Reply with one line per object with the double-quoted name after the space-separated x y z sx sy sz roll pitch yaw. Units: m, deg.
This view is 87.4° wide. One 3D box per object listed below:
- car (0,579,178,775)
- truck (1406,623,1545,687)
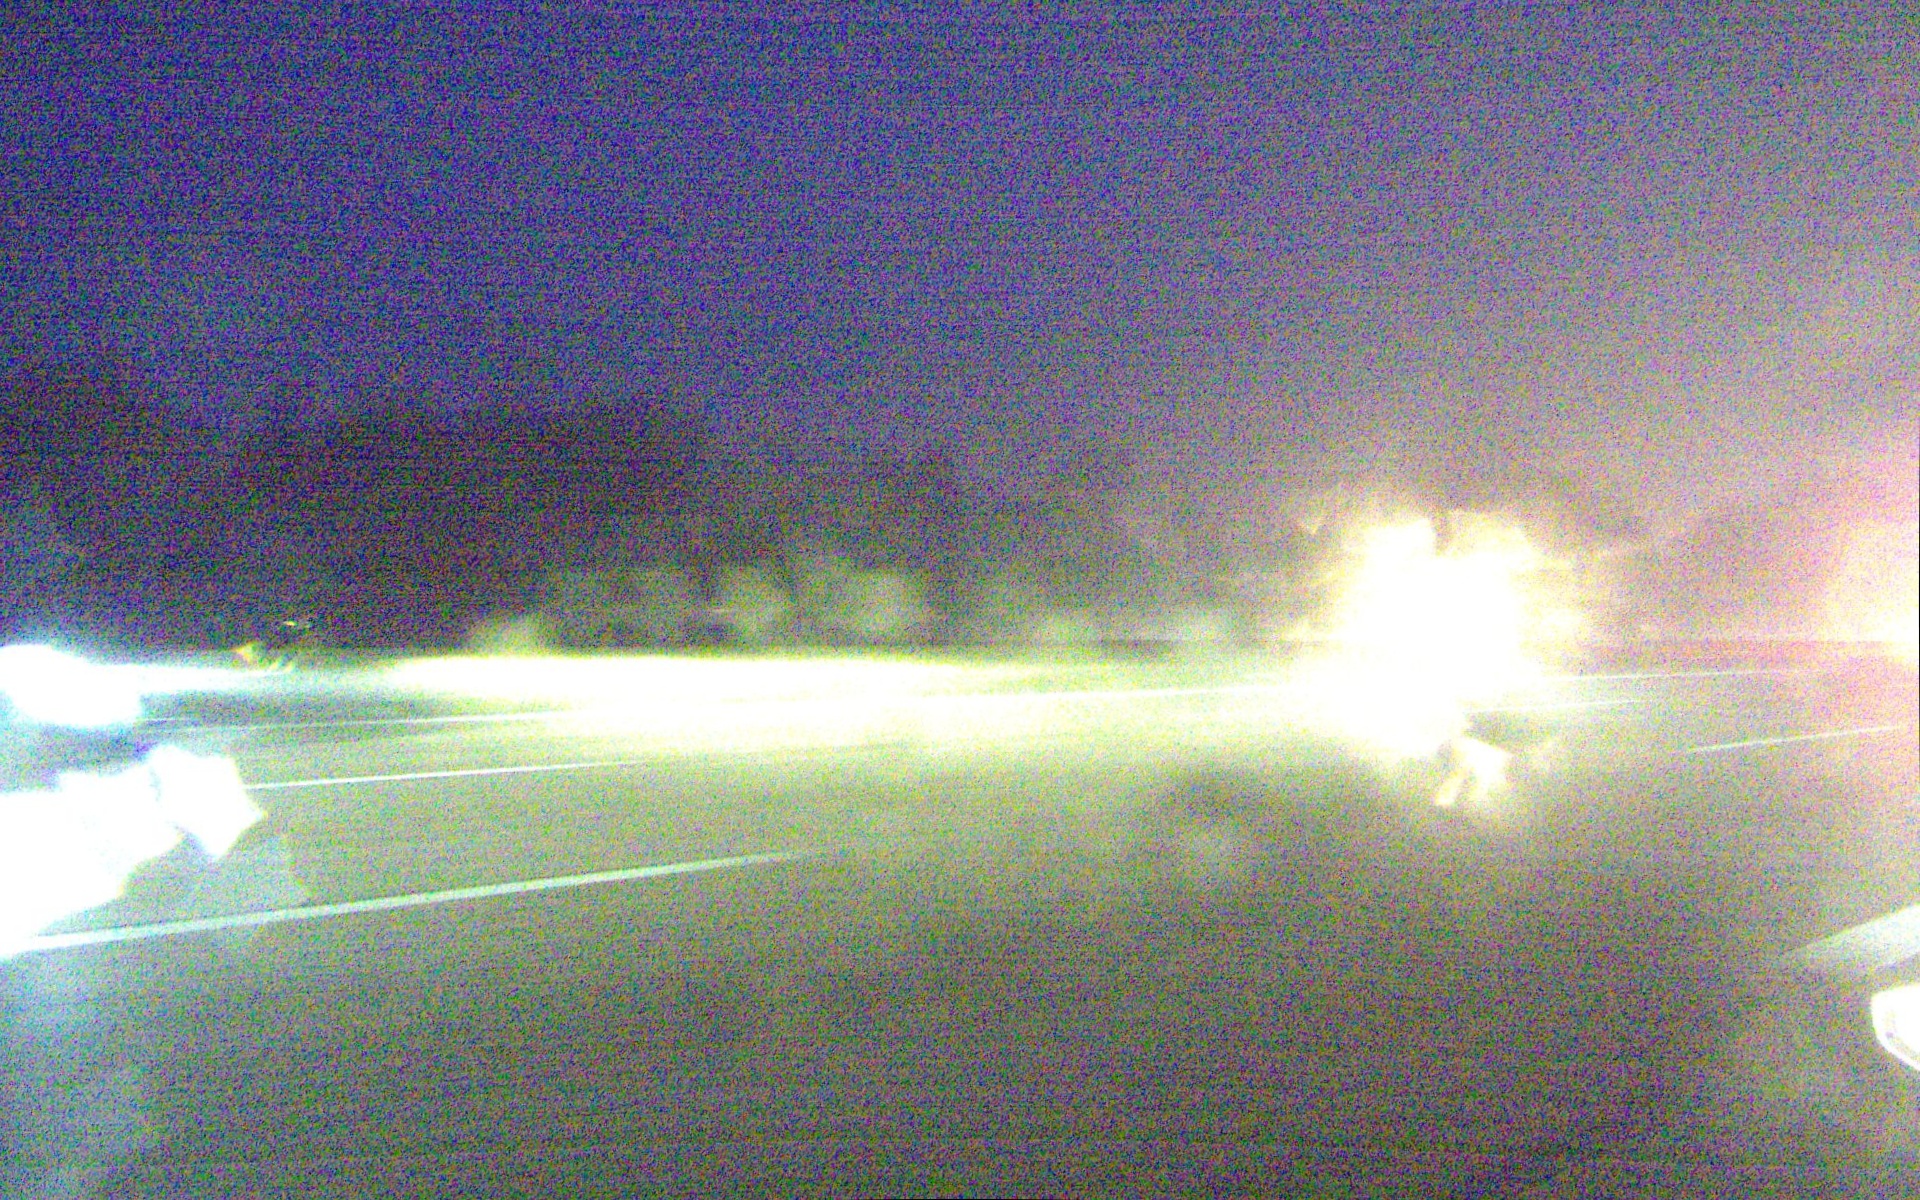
-9.404 0.535 7.702 5.105 1.496 1.984 2 0 -31 "car"
21.068 2.212 40.930 6.366 2.378 1.983 2 0 -31 "truck"
